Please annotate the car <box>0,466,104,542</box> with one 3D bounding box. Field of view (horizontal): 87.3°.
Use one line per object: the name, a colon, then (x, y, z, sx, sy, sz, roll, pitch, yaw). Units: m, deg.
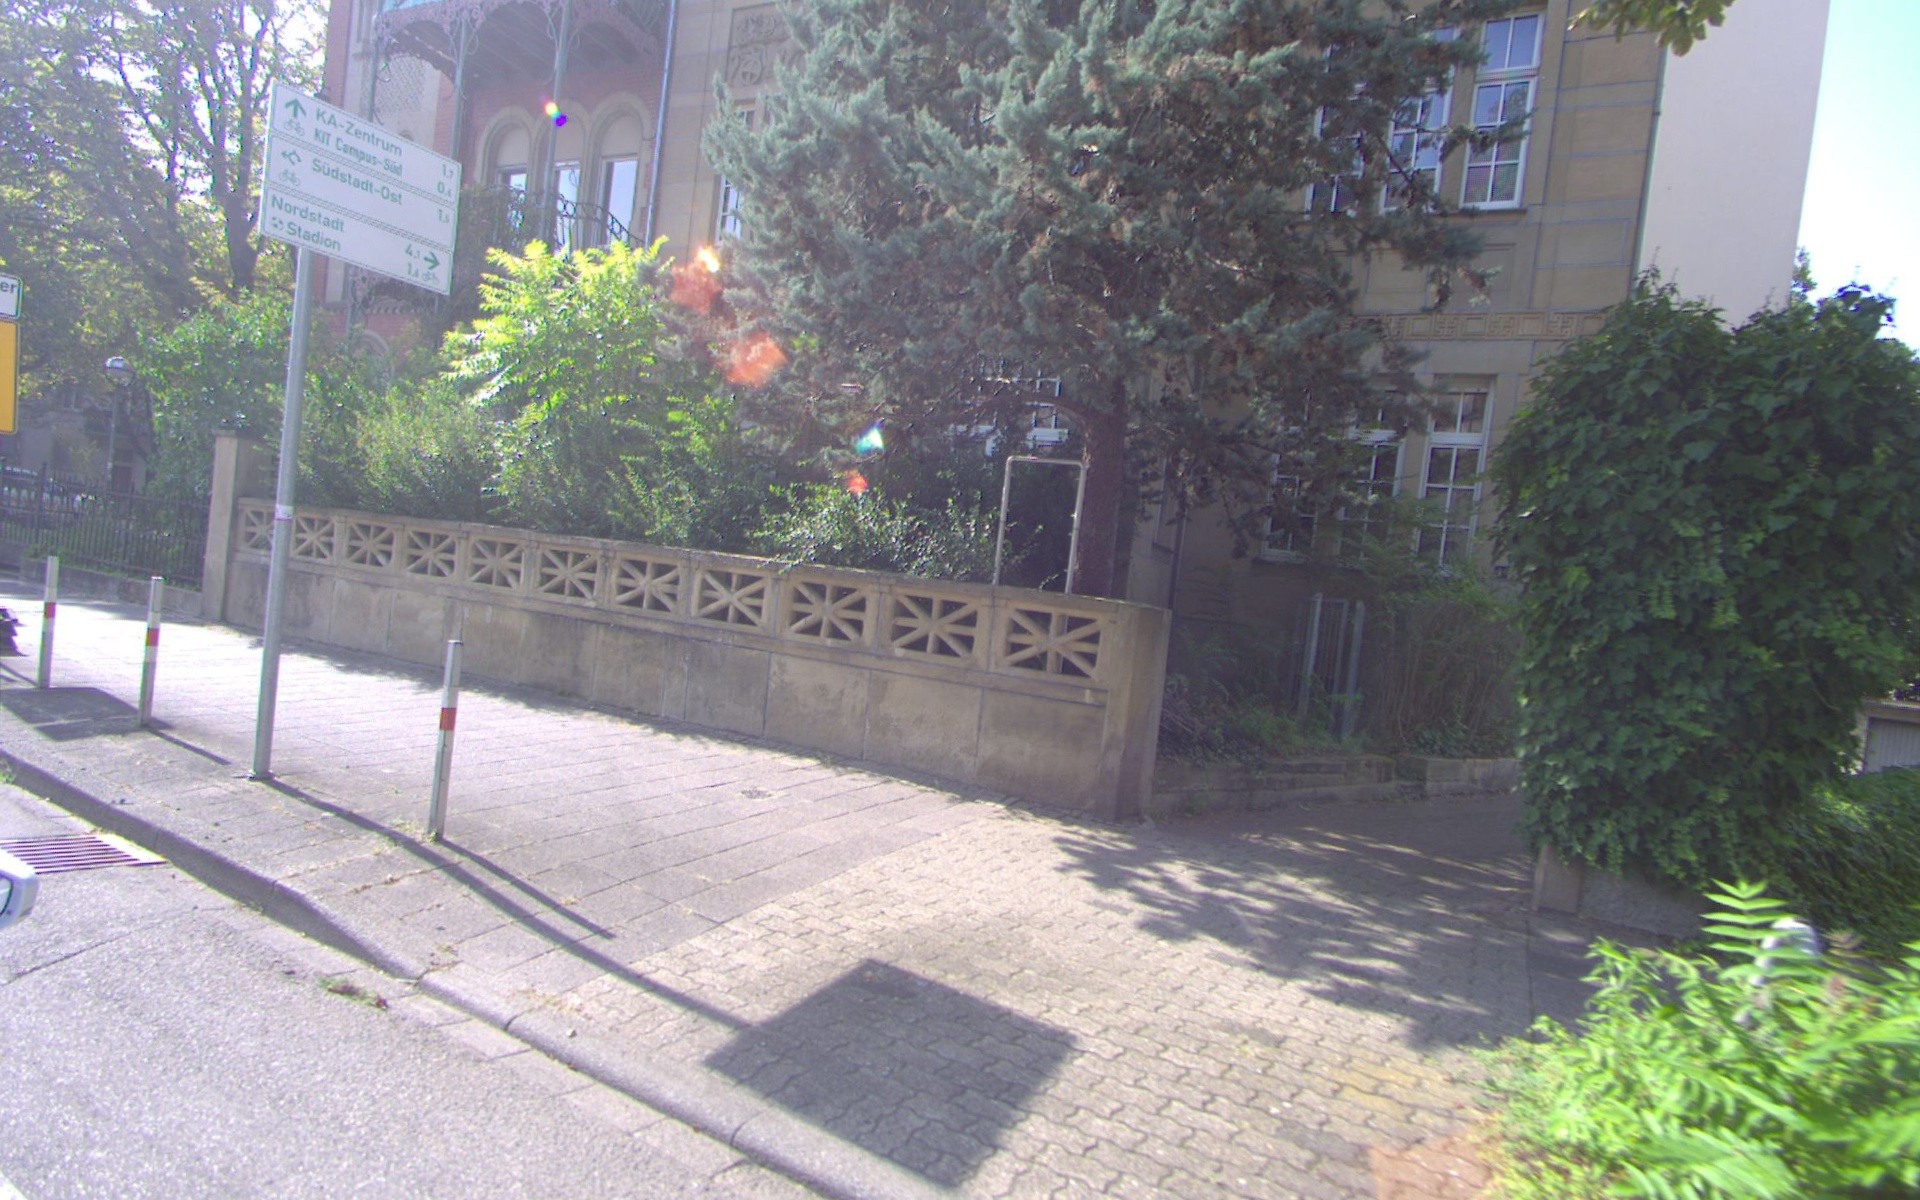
car: (-23.049, -2.392, 24.031, 1.967, 1.651, 4.321, 7, 1, -11)
